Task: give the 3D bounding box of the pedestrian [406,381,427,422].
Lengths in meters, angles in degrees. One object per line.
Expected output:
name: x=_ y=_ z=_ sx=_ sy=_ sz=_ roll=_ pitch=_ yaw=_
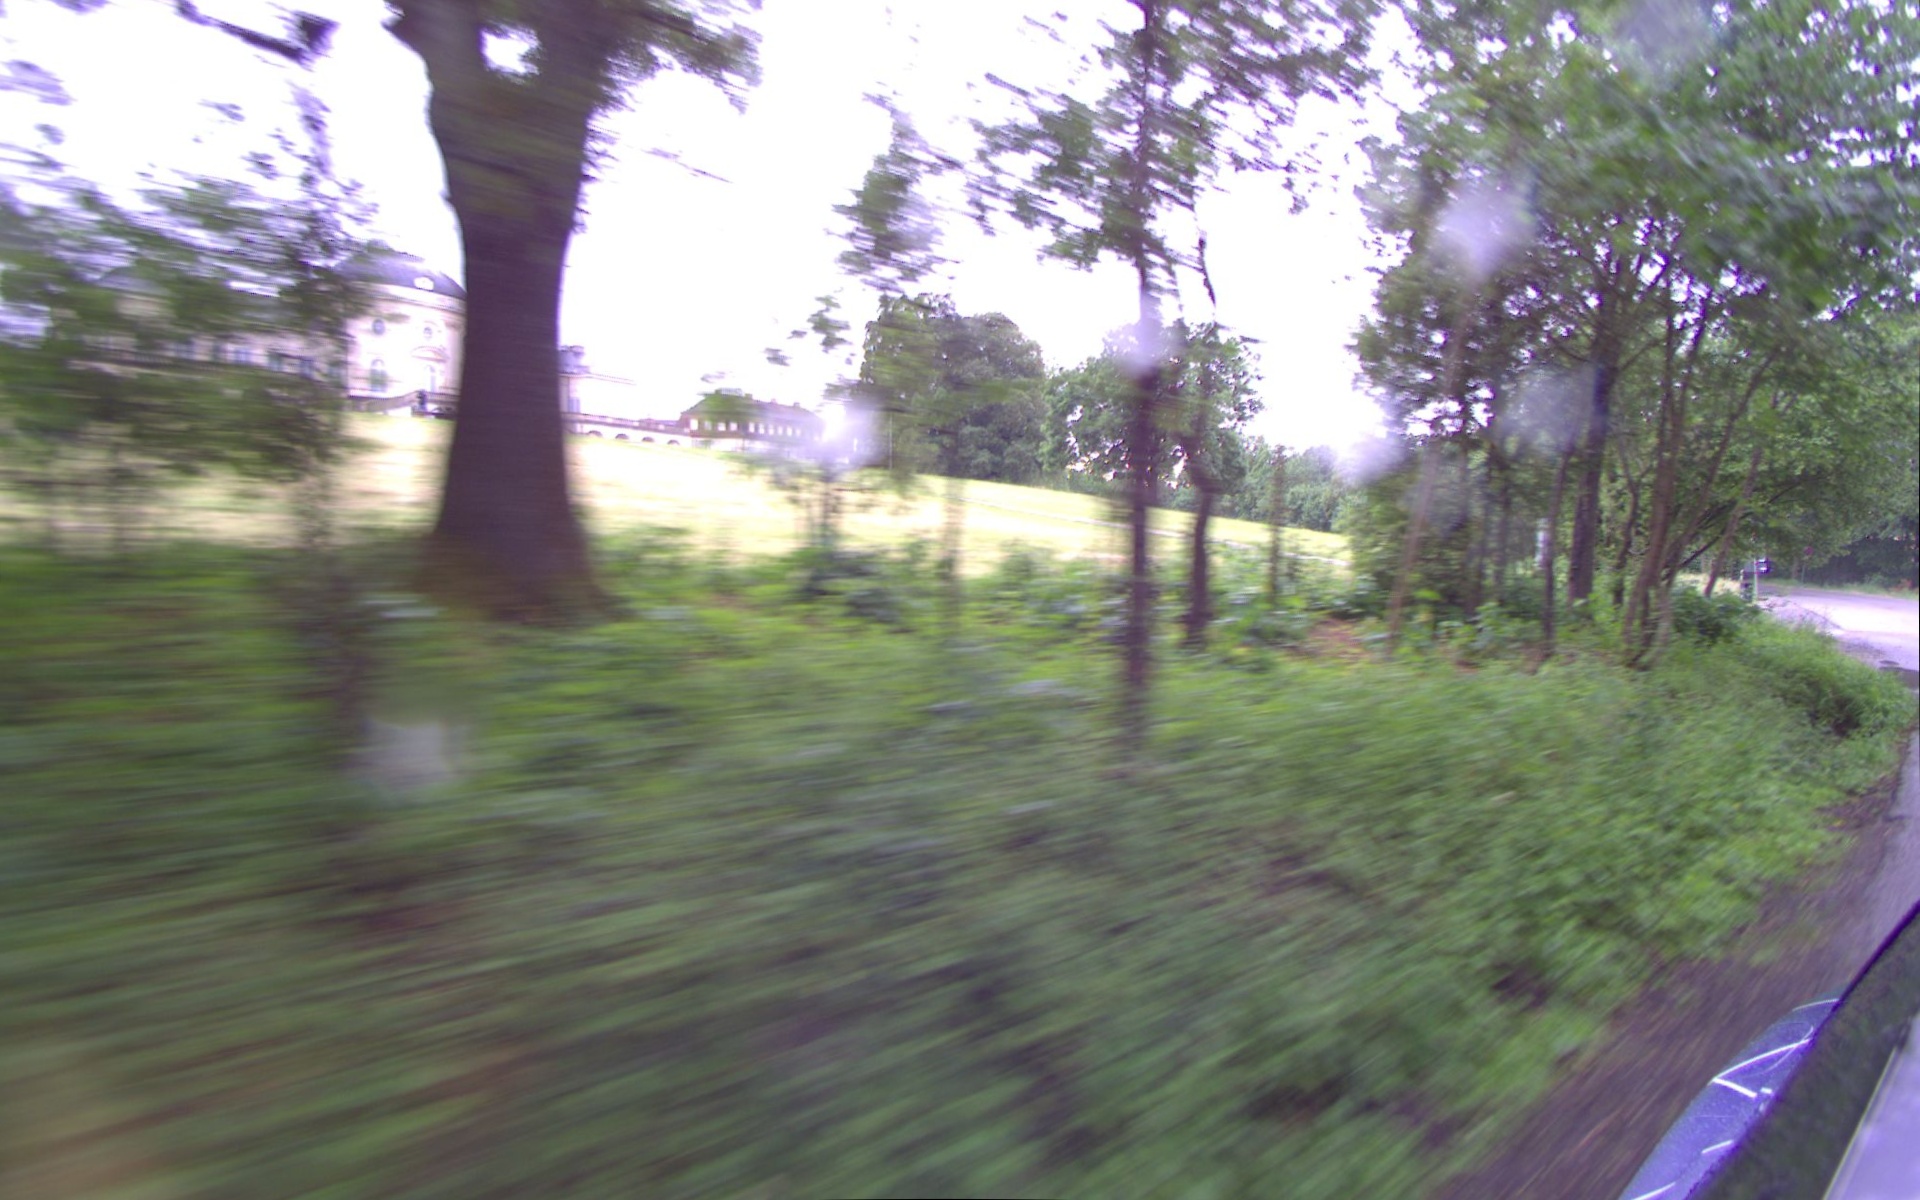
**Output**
pedestrian: x=-25.947 y=-9.453 z=48.320 sx=0.787 sy=1.757 sz=0.930 roll=2 pitch=1 yaw=-33
